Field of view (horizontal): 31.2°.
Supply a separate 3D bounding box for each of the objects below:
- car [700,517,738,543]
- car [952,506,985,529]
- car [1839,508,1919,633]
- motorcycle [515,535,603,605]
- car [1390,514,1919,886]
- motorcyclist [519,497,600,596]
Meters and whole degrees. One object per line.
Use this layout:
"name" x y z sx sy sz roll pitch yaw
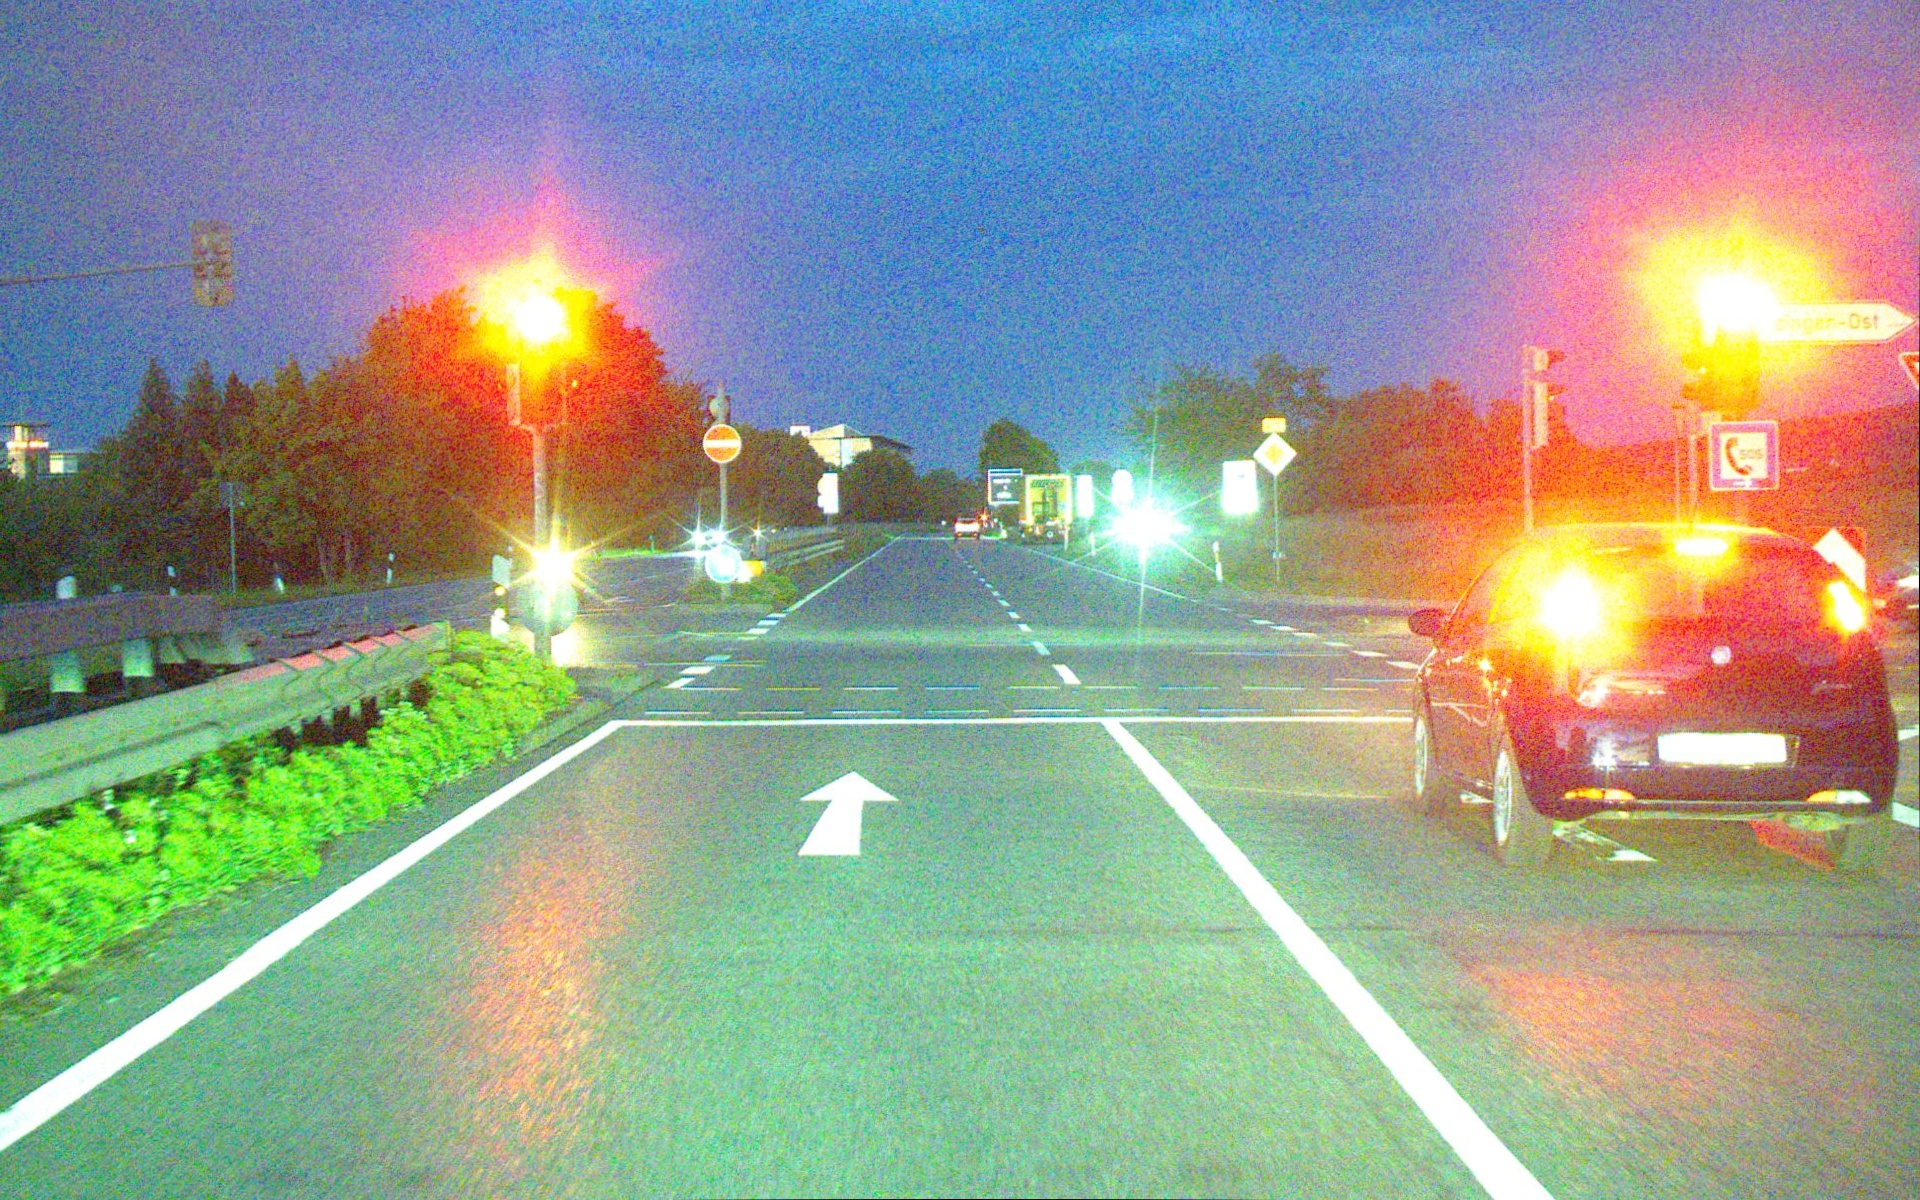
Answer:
"car" -14.386 -4.193 205.536 1.993 1.514 4.298 -1 2 -1
"car" 0.597 -5.995 250.475 2.273 1.626 4.001 -1 2 -1
"car" 13.719 -0.443 43.615 4.600 1.515 2.000 -2 1 0
"motorcycle" -6.629 -0.512 56.748 0.979 1.095 2.509 -2 2 -17
"car" 3.089 0.355 16.076 1.670 1.515 4.106 0 1 1
"motorcyclist" -6.585 -0.880 56.538 1.137 1.579 0.973 -2 2 -16
